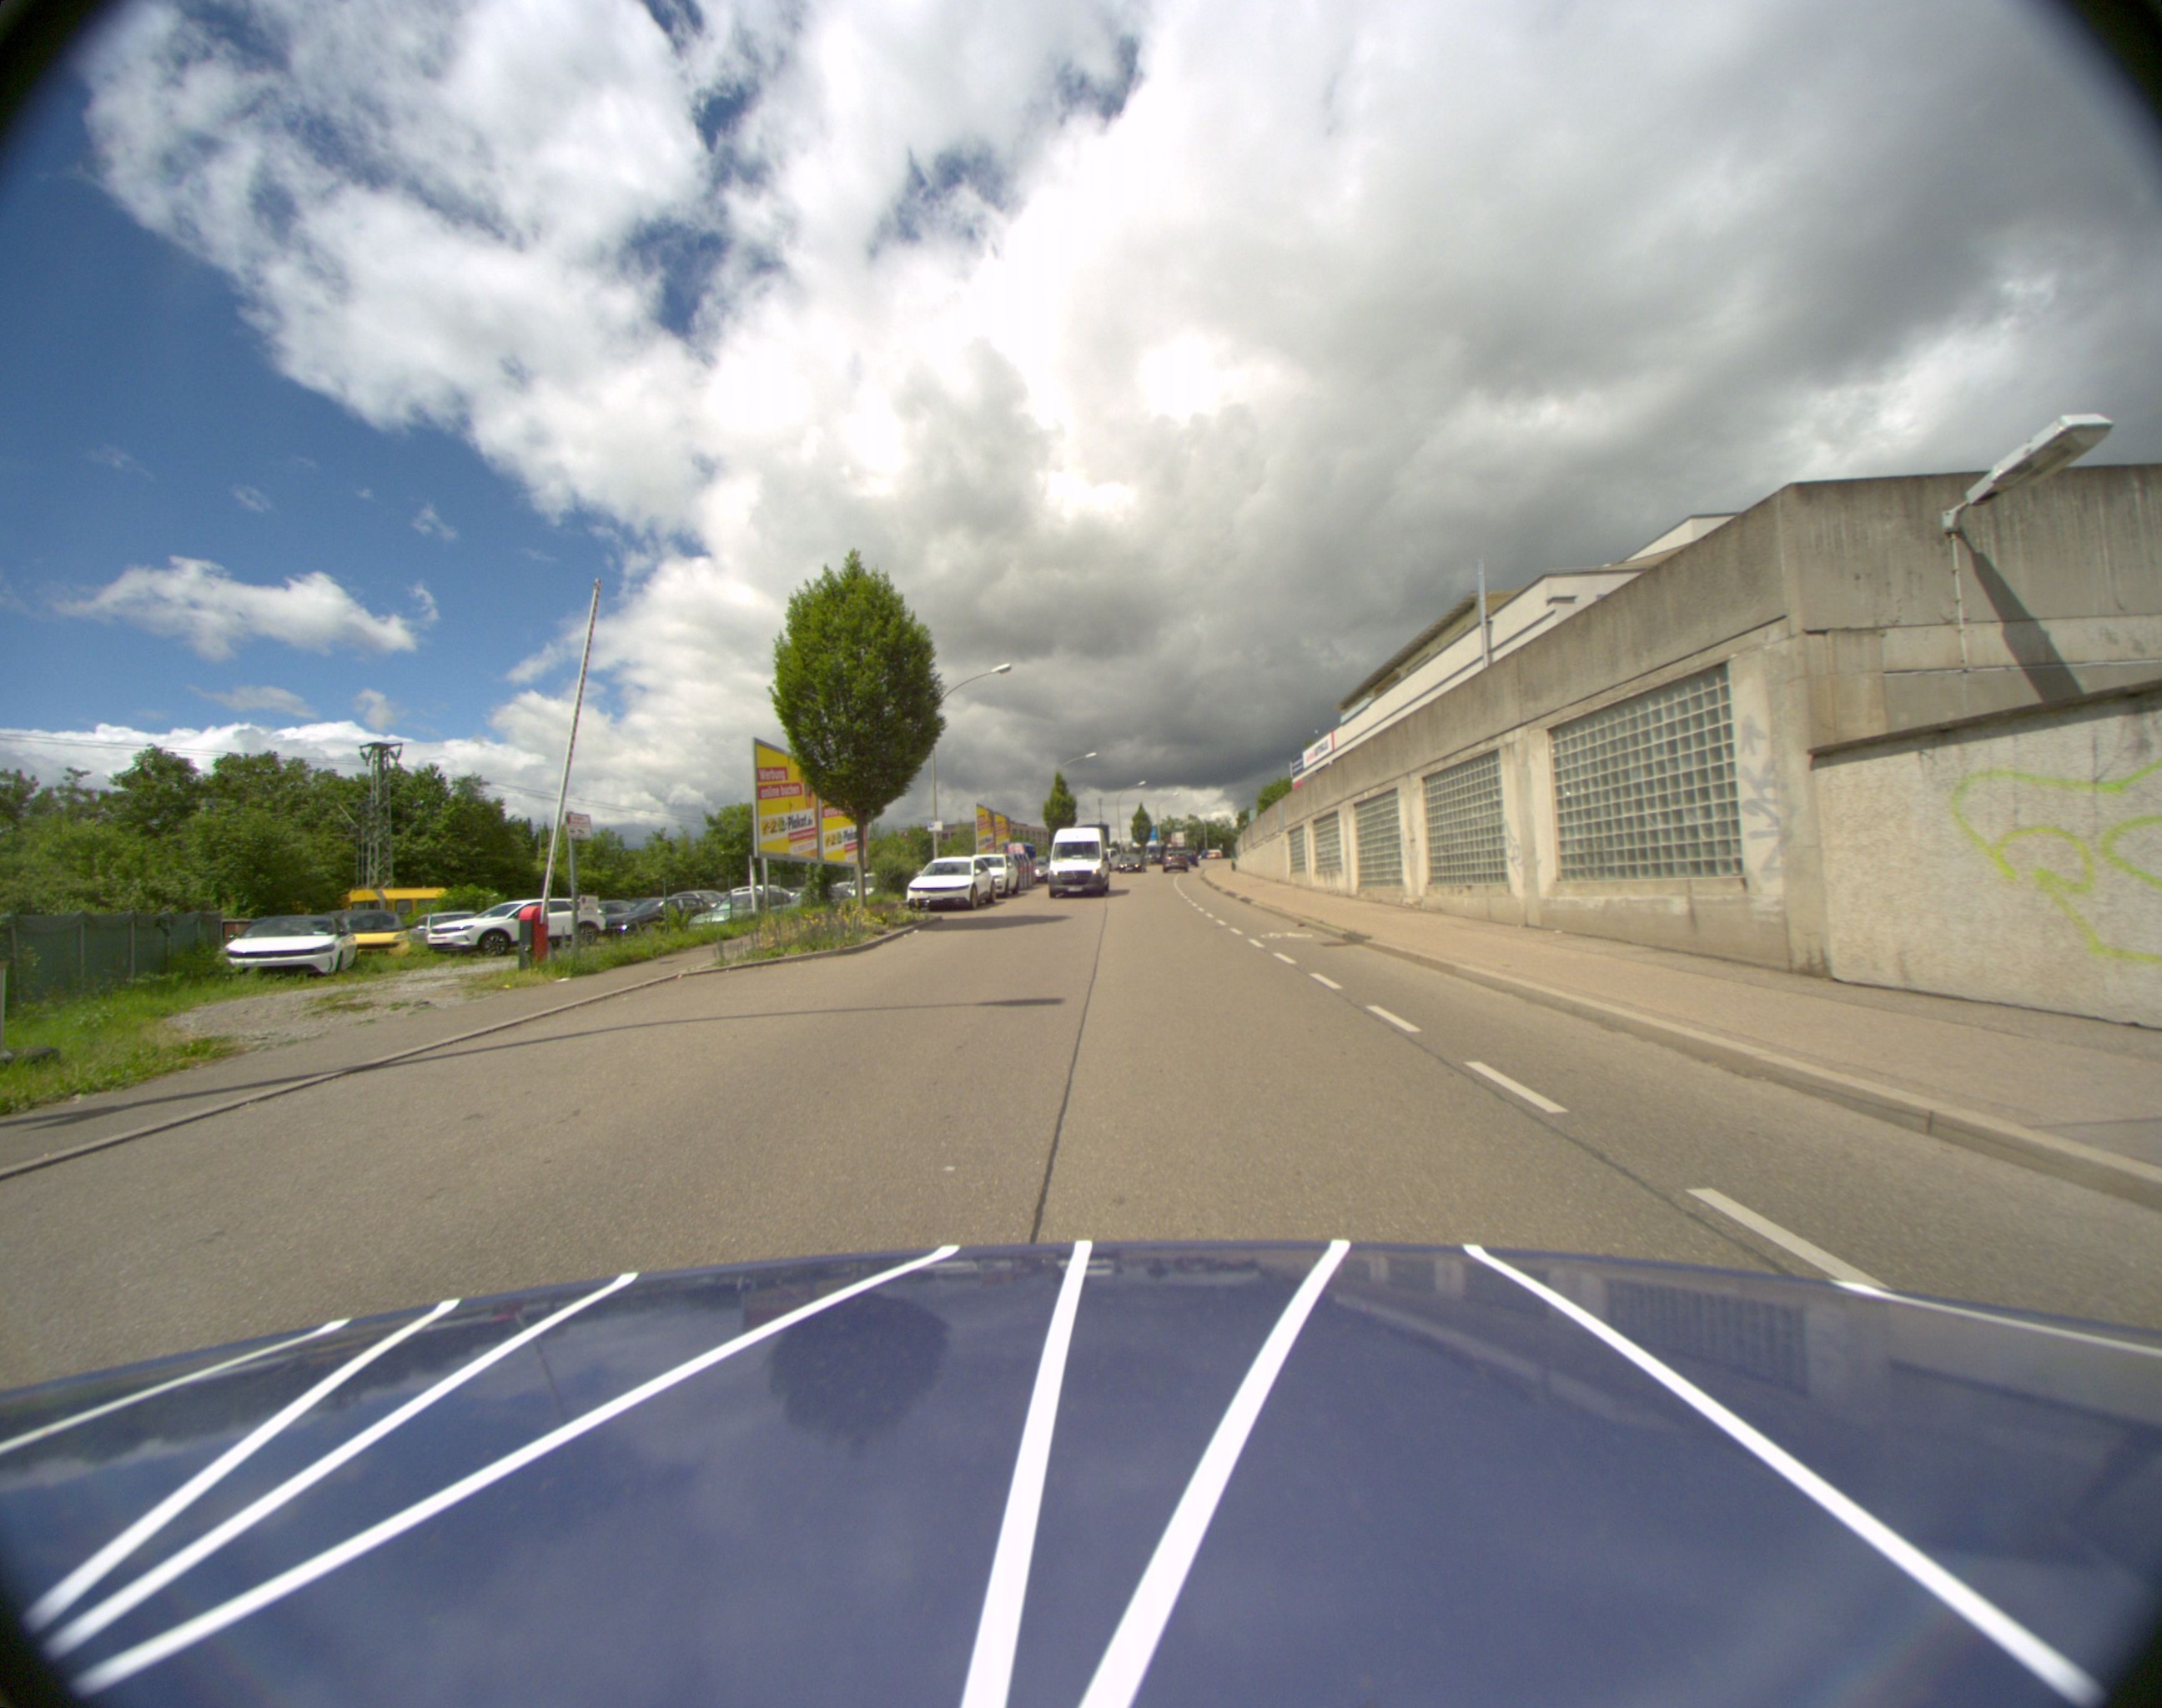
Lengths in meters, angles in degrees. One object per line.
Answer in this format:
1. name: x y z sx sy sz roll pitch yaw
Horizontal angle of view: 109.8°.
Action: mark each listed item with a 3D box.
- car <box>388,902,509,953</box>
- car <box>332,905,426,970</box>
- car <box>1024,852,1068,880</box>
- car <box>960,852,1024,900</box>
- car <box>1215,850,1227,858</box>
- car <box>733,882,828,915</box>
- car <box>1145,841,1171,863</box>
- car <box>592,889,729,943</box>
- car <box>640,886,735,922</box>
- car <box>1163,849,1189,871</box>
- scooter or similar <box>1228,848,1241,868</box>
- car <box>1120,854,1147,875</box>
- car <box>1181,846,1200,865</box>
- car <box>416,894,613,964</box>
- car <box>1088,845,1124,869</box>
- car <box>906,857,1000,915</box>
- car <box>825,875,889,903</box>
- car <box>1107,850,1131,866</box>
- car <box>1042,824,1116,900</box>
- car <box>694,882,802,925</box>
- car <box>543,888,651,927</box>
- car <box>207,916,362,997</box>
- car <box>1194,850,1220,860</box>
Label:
1. car: -21.471 2.424 25.760 4.176 1.382 1.793 0 1 30
2. car: -19.737 2.266 21.316 4.031 1.382 1.528 0 1 42
3. car: -1.960 0.656 43.698 1.658 1.477 4.047 -1 1 10
4. car: -3.377 0.796 29.625 1.689 1.650 4.480 -2 1 3
5. car: 27.529 0.059 149.124 1.602 1.482 3.687 -2 1 21
6. car: -15.965 2.377 40.422 4.451 1.545 2.003 -2 1 21
7. car: 9.671 -0.321 95.248 2.057 2.579 5.741 -2 0 17
8. car: -15.810 2.265 28.844 1.814 1.612 4.468 0 1 18
9. car: -18.723 2.373 36.164 3.990 1.550 1.825 -2 1 24
10. car: 7.370 0.411 59.051 1.803 1.613 4.094 -1 0 5
11. scooter or similar: 10.273 0.275 50.858 0.520 1.268 1.383 -4 1 1
12. car: 4.169 0.842 60.124 1.583 1.497 3.960 -2 0 12
13. car: 10.802 0.158 75.066 1.630 1.807 3.781 -1 1 6
14. car: -17.461 2.240 23.737 1.751 1.675 4.686 0 0 21
15. car: 2.228 0.211 66.536 1.978 1.992 5.552 -2 0 13
16. car: -3.842 0.913 23.659 1.846 1.556 4.466 -1 1 4
17. car: -13.982 2.160 47.386 3.989 1.531 1.791 -2 1 38
18. car: 3.709 0.405 73.582 1.595 1.442 3.983 -2 0 13
19. car: 0.058 0.254 29.561 2.081 2.576 6.065 -2 1 6
20. car: -14.501 2.119 33.373 1.753 1.509 4.587 0 1 17
21. car: -19.878 2.155 31.189 4.033 1.382 1.747 0 1 24
22. car: -17.311 2.135 16.722 1.747 1.381 4.034 -1 -2 -38
23. car: 27.434 0.169 165.140 5.133 1.958 1.959 -3 1 -15
